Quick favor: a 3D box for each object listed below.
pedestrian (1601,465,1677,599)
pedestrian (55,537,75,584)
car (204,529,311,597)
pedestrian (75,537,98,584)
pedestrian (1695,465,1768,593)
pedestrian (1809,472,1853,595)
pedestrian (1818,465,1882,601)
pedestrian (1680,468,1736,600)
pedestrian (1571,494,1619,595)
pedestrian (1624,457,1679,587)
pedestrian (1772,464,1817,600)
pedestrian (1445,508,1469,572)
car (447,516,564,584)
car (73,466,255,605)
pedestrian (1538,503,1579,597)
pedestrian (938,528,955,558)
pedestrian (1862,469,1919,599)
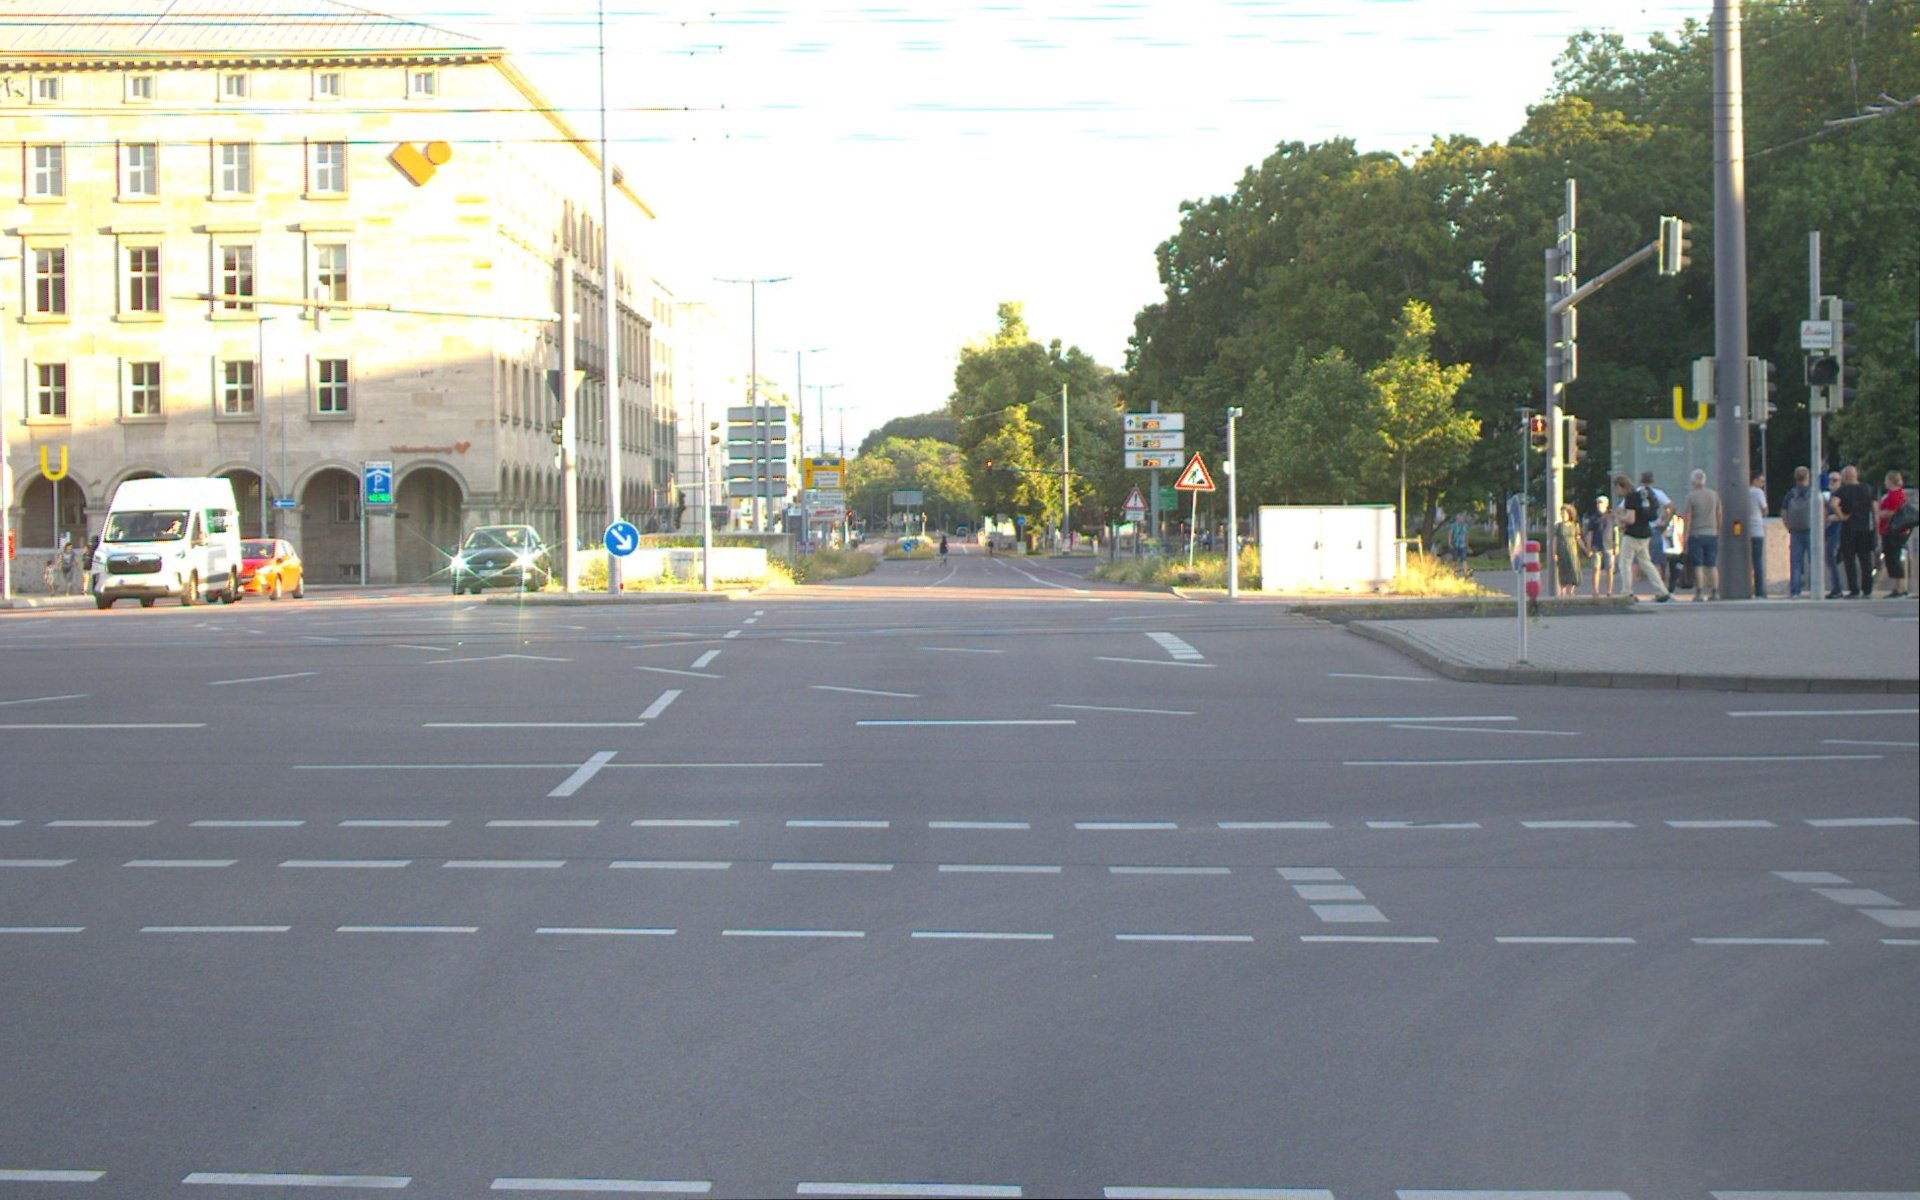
[{"bbox_3d":[8.775,-0.882,44.404,0.912,1.719,0.713,0,2,15],"label":"pedestrian"},{"bbox_3d":[-25.152,-1.115,96.602,0.474,1.296,0.464,1,0,-5],"label":"pedestrian"},{"bbox_3d":[-16.563,-0.893,81.184,1.738,1.482,4.001,-1,2,-1],"label":"car"},{"bbox_3d":[-24.493,-1.104,96.395,0.505,1.296,0.701,1,0,-5],"label":"pedestrian"},{"bbox_3d":[10.474,-0.968,46.666,0.912,1.719,0.713,0,2,9],"label":"pedestrian"},{"bbox_3d":[11.956,-0.923,47.213,0.572,1.673,0.638,0,2,14],"label":"pedestrian"},{"bbox_3d":[11.814,-0.895,45.674,0.805,1.785,0.800,0,2,14],"label":"pedestrian"},{"bbox_3d":[9.905,-0.877,45.539,0.711,1.719,0.668,0,2,13],"label":"pedestrian"},{"bbox_3d":[11.188,-0.977,60.584,0.680,1.751,0.901,0,2,20],"label":"pedestrian"},{"bbox_3d":[9.201,-1.038,45.748,0.711,1.719,0.668,0,2,12],"label":"pedestrian"},{"bbox_3d":[11.082,-0.903,45.683,0.572,1.785,0.638,0,2,14],"label":"pedestrian"},{"bbox_3d":[13.833,-1.669,95.640,0.642,1.754,0.524,0,2,8],"label":"pedestrian"},{"bbox_3d":[-9.564,-1.074,72.631,1.823,1.337,4.000,-1,2,2],"label":"car"},{"bbox_3d":[-16.701,-1.383,72.477,2.279,2.766,6.084,-1,2,1],"label":"car"},{"bbox_3d":[10.590,-0.886,60.813,0.560,1.649,0.901,0,2,20],"label":"pedestrian"},{"bbox_3d":[-0.778,-3.210,194.693,0.906,1.665,1.307,-1,2,-1],"label":"pedestrian"},{"bbox_3d":[12.544,-0.889,46.049,0.845,1.728,0.705,0,2,12],"label":"pedestrian"}]
